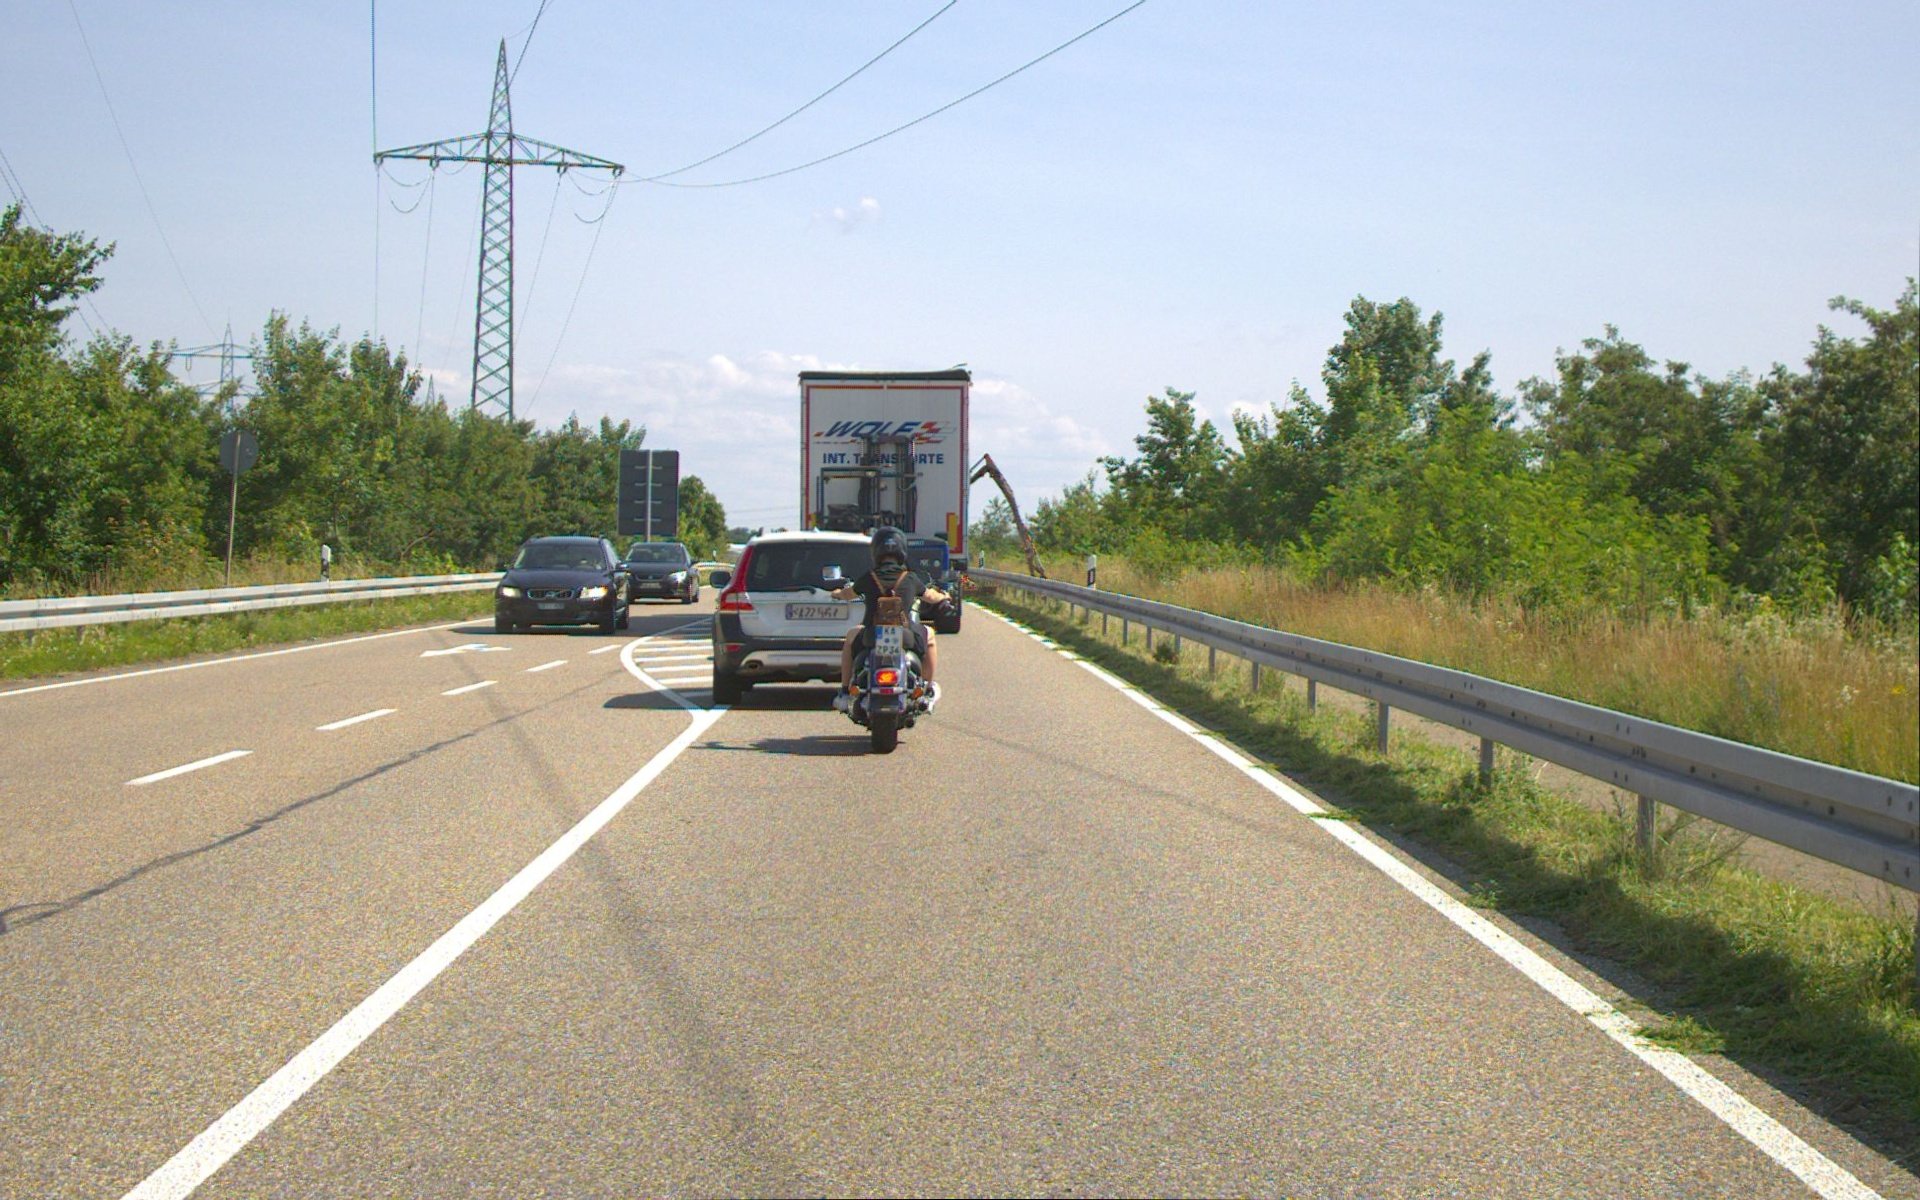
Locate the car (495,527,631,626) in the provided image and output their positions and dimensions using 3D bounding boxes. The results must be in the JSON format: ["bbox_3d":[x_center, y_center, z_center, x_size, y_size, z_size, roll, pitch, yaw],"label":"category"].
[{"bbox_3d":[-6.211,-0.406,54.220,1.727,1.486,4.423,1,1,-1],"label":"car"}]

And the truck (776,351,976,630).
[{"bbox_3d":[-1.269,-1.793,59.201,2.968,4.172,14.822,1,1,0],"label":"truck"}]

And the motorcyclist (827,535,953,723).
[{"bbox_3d":[-0.498,0.193,24.028,0.837,1.276,0.919,1,1,-3],"label":"motorcyclist"}]

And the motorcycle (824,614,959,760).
[{"bbox_3d":[-0.501,0.582,23.955,0.858,0.912,2.228,0,1,-3],"label":"motorcycle"}]

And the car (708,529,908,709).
[{"bbox_3d":[-1.340,0.129,31.311,1.701,1.531,3.499,1,1,-1],"label":"car"}]

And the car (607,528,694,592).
[{"bbox_3d":[-7.167,-0.950,79.843,1.659,1.437,4.214,1,1,0],"label":"car"}]
